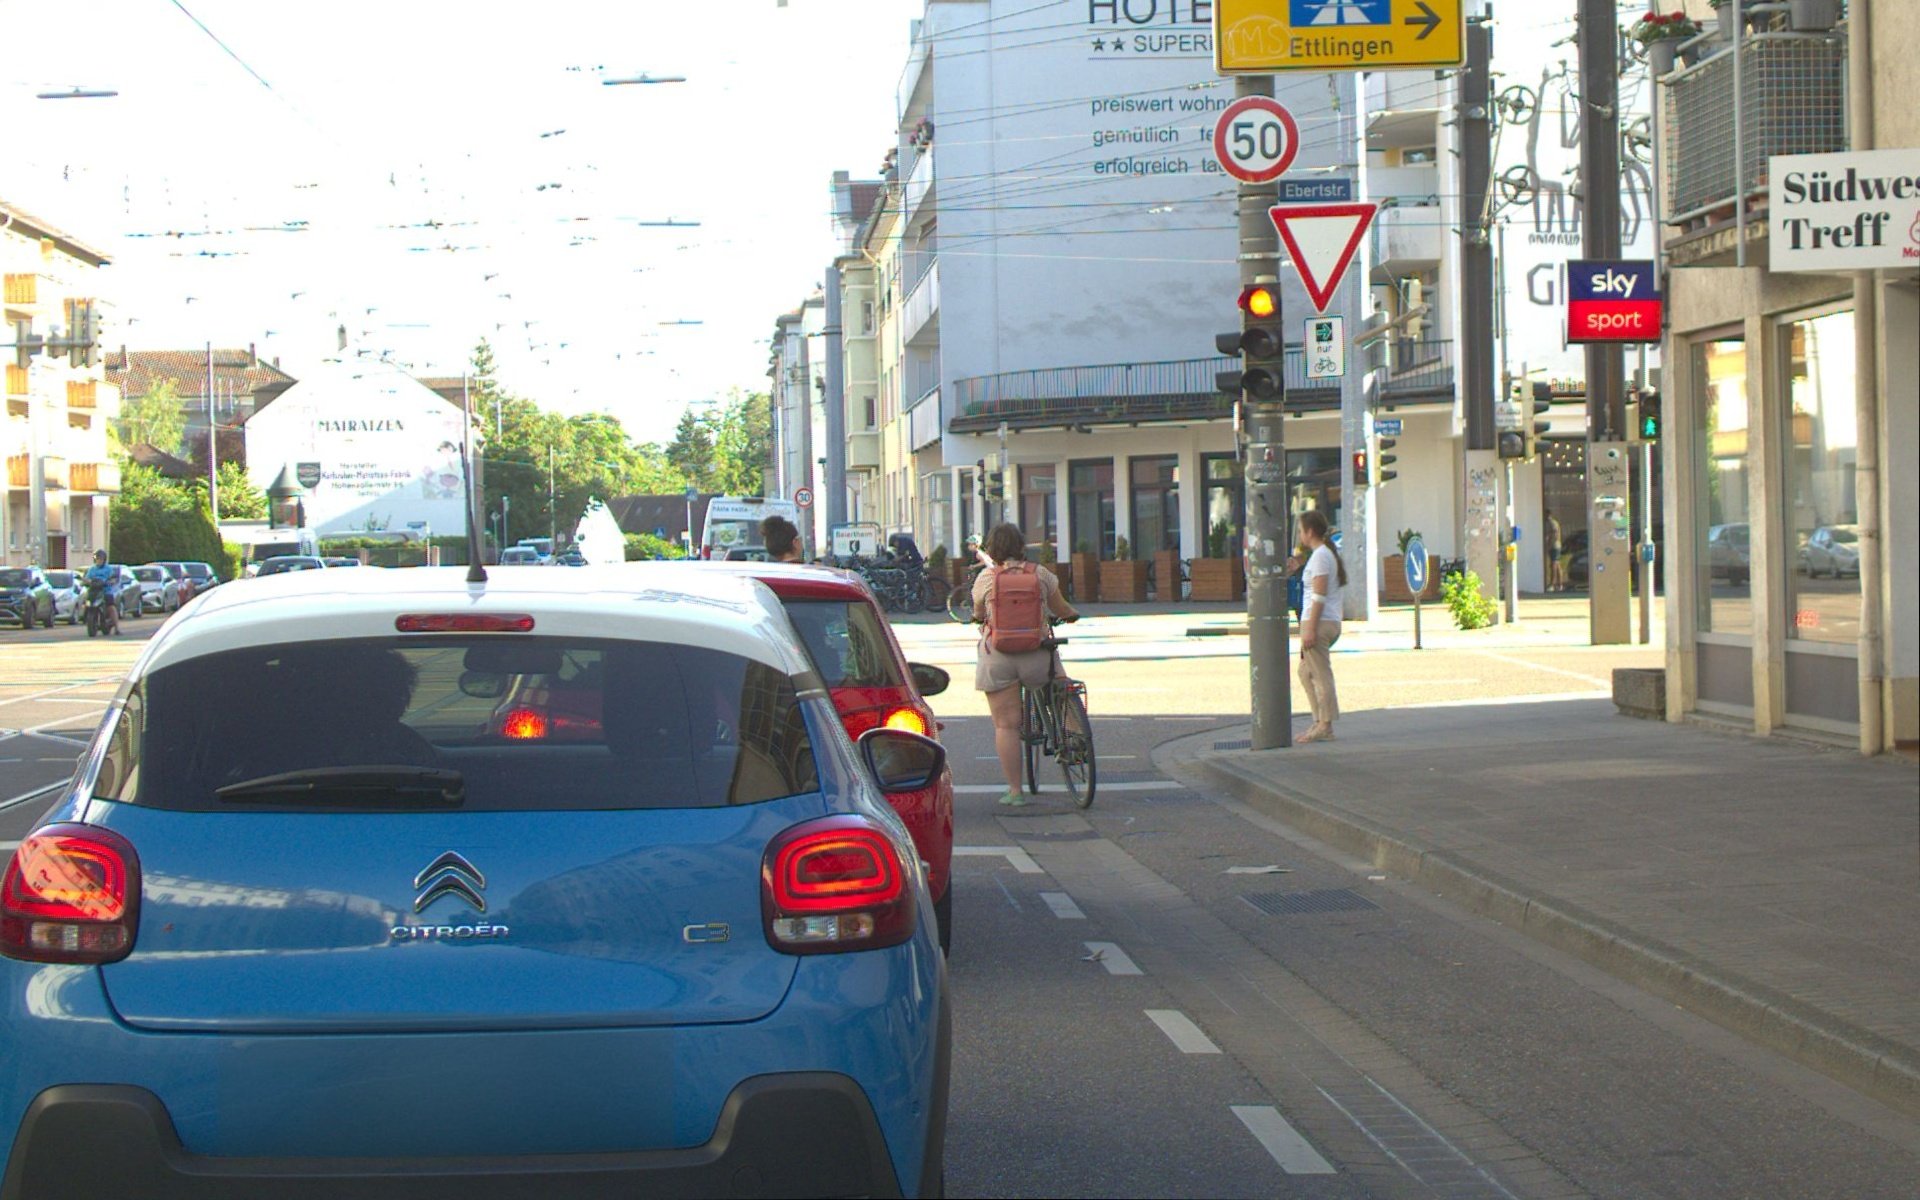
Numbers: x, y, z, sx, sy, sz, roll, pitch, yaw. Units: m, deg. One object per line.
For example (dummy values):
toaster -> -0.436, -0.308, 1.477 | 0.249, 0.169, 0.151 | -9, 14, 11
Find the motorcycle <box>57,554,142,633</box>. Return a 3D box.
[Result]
motorcycle -> -16.770, -0.142, 67.100 | 0.923, 1.481, 3.726 | 1, 1, -3

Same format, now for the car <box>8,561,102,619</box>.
car -> -24.193, -0.281, 92.000 | 1.732, 1.493, 4.001 | 1, 1, -5

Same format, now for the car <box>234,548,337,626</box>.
car -> -14.956, -0.310, 76.374 | 1.774, 1.660, 3.857 | 1, 1, -4

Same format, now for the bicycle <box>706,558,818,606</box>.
bicycle -> -3.821, -0.355, 66.309 | 2.132, 0.898, 0.367 | 1, 0, -9

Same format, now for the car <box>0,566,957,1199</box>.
car -> -0.861, 0.660, 7.181 | 1.654, 1.439, 3.523 | 1, 1, -1

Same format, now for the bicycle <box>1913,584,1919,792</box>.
bicycle -> 4.880, 0.435, 15.713 | 0.542, 0.995, 1.706 | 1, 1, -1

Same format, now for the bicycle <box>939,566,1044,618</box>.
bicycle -> 0.555, -0.145, 61.476 | 1.855, 0.900, 0.349 | 1, 0, 19

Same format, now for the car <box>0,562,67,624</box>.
car -> -23.679, -0.184, 86.083 | 1.785, 1.493, 4.001 | 1, 1, -4

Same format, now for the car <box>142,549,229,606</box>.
car -> -23.910, -0.701, 106.218 | 1.983, 1.681, 4.001 | 1, 1, -3

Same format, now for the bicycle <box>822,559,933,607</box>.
bicycle -> -1.611, -0.333, 67.113 | 2.132, 0.898, 0.367 | 1, 0, -9

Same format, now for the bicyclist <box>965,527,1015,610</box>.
bicyclist -> 0.537, -0.558, 61.489 | 0.746, 1.472, 0.562 | 1, 0, 20

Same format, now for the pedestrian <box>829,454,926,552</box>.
pedestrian -> -1.745, -2.040, 73.525 | 1.993, 2.007, 4.000 | 1, 1, -1

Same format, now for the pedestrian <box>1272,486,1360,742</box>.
pedestrian -> 2.512, 0.093, 24.285 | 0.517, 1.777, 0.595 | 1, 0, -2

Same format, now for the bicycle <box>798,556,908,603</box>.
bicycle -> -2.122, -0.413, 68.289 | 2.132, 0.898, 0.367 | 1, 0, -9

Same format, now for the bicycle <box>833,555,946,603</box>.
bicycle -> -1.357, -0.403, 65.908 | 2.132, 0.898, 0.367 | 1, 0, -9

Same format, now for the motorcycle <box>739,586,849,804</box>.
motorcycle -> -0.921, 0.501, 19.431 | 0.526, 1.136, 2.290 | 1, 1, -1

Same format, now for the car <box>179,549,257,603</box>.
car -> -24.005, -0.788, 111.282 | 1.882, 1.681, 4.001 | 1, 1, -4

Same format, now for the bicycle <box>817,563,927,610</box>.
bicycle -> -1.729, -0.271, 67.588 | 2.132, 0.898, 0.367 | 1, 0, -9

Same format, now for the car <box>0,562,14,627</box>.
car -> -23.209, -0.137, 79.159 | 1.787, 1.506, 4.150 | 1, 1, -2

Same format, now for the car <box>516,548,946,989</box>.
car -> -0.791, 0.560, 13.114 | 1.424, 1.462, 2.924 | -1, 0, -1

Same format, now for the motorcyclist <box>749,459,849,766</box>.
motorcyclist -> -0.913, 0.066, 19.614 | 0.526, 1.710, 0.717 | 1, 0, -1

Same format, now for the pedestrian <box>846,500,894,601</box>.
pedestrian -> -1.807, -0.998, 69.115 | 0.630, 2.007, 0.724 | 1, 0, -36

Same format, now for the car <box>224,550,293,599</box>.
car -> -24.737, -0.900, 121.327 | 1.846, 1.681, 3.875 | 1, 1, -4

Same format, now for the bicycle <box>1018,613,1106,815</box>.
bicycle -> 0.595, 0.652, 20.558 | 0.427, 1.119, 1.998 | 1, 1, -1

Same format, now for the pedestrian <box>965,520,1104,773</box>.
pedestrian -> 0.433, 0.266, 20.254 | 0.777, 1.455, 0.682 | 1, 0, -1

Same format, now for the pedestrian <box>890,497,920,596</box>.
pedestrian -> -1.124, -1.096, 70.195 | 0.577, 2.007, 0.626 | 1, 0, -3

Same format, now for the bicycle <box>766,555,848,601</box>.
bicycle -> -3.097, -0.450, 69.454 | 1.785, 0.898, 0.366 | 1, 1, 34

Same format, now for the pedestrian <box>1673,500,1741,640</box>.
pedestrian -> 8.626, -0.346, 39.668 | 0.736, 1.595, 0.748 | 1, 0, 13

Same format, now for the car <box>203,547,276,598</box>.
car -> -24.433, -0.936, 116.686 | 1.833, 1.681, 4.001 | 1, 1, -4

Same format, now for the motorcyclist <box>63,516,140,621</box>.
motorcyclist -> -16.784, -0.628, 67.264 | 1.185, 2.007, 1.276 | -1, 1, -3

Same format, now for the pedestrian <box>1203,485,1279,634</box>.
pedestrian -> 3.828, -0.550, 46.886 | 0.926, 2.007, 0.759 | 1, 0, -1
